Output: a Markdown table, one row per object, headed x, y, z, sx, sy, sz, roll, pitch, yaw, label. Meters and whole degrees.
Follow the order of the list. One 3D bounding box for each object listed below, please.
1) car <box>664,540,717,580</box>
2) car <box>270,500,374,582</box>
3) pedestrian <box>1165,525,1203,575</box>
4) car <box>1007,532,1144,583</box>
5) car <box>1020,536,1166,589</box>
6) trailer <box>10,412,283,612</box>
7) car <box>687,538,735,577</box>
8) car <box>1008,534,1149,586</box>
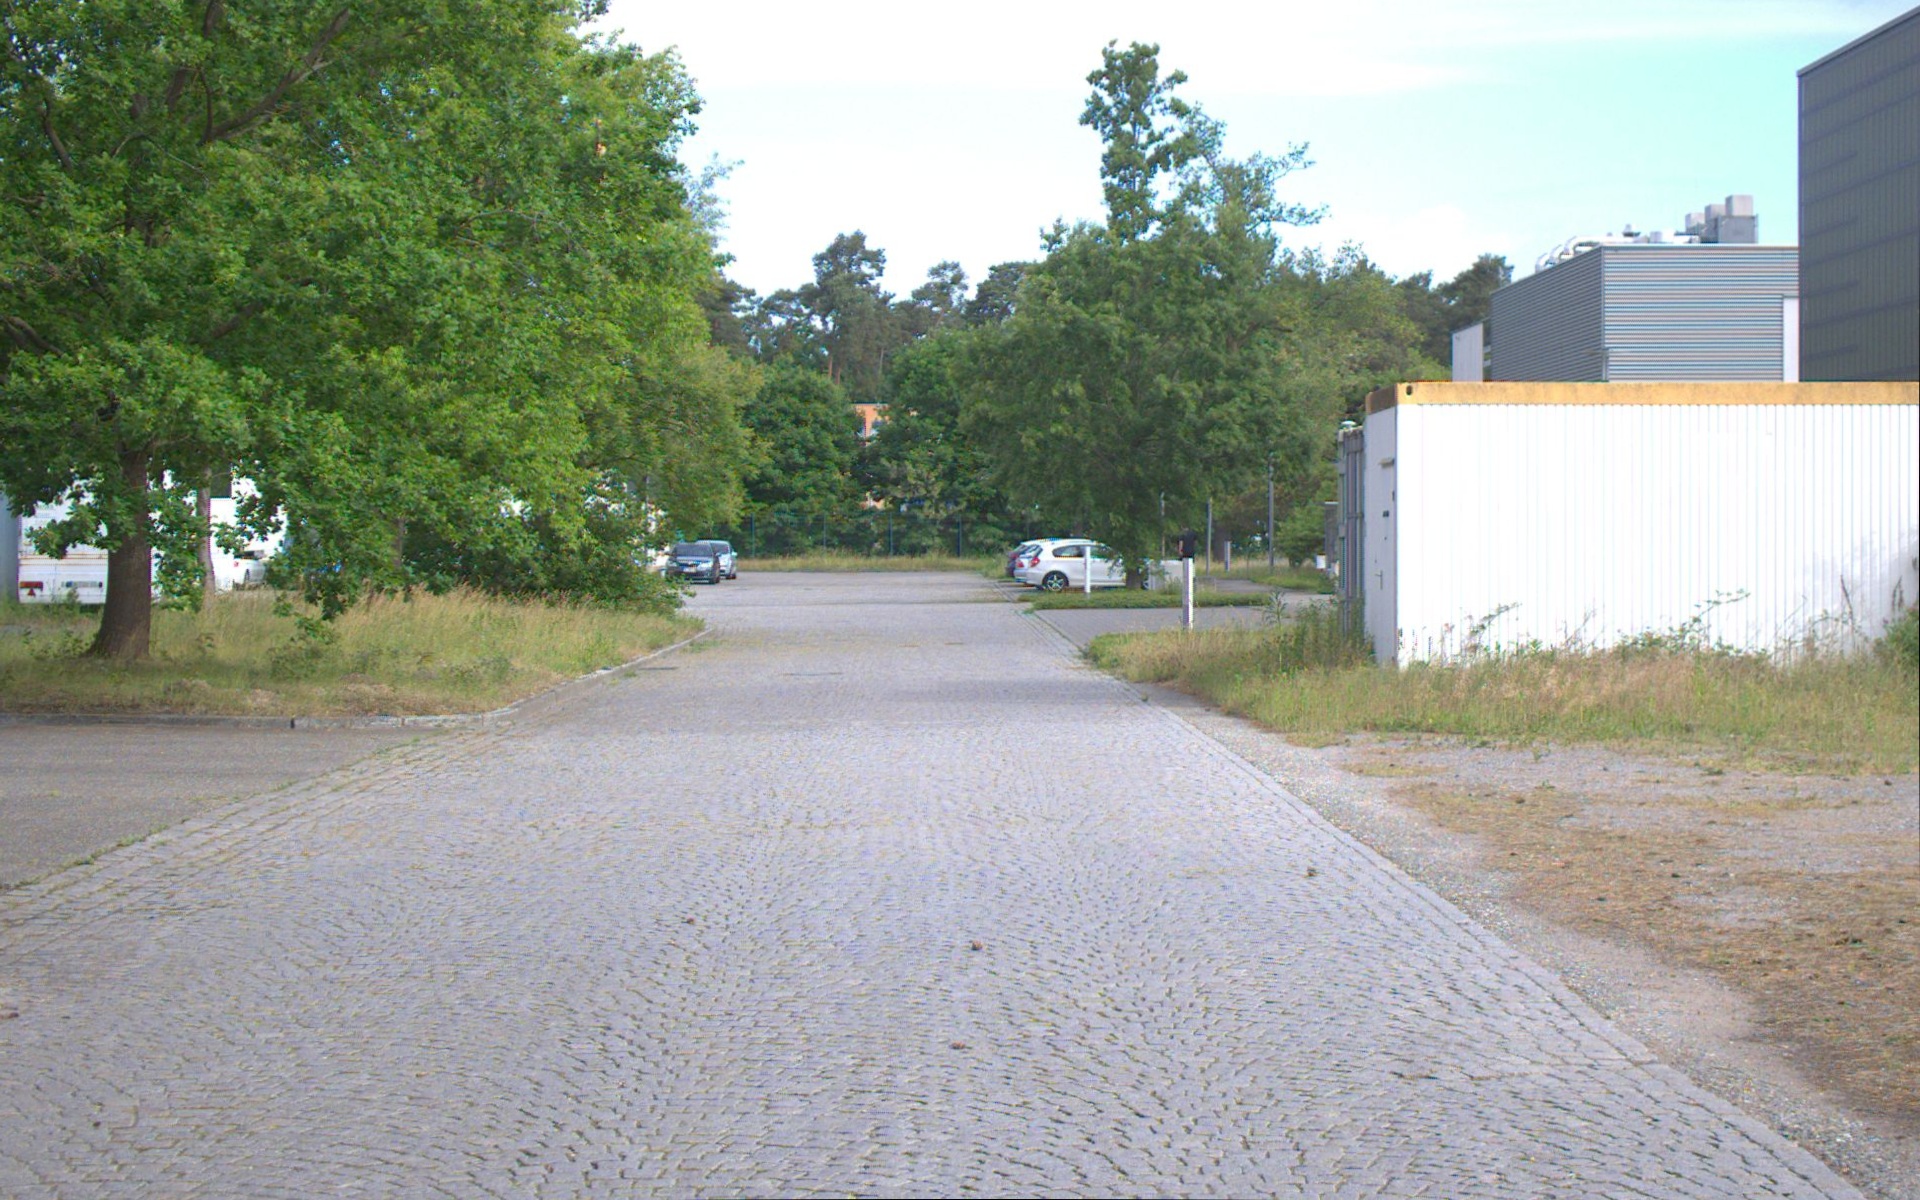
| x | y | z | sx | sy | sz | roll | pitch | yaw | label |
| --- | --- | --- | --- | --- | --- | --- | --- | --- | --- |
| -9.404 | -1.409 | 120.365 | 1.748 | 1.359 | 4.001 | 0 | 1 | -3 | car |
| -20.128 | -1.865 | 108.697 | 1.994 | 2.515 | 5.617 | 0 | 1 | 3 | car |
| 7.083 | -1.575 | 108.680 | 0.939 | 1.563 | 0.971 | -1 | 1 | -15 | pedestrian |
| 3.392 | -1.265 | 101.680 | 3.987 | 1.450 | 1.770 | 0 | 1 | 0 | car |
| 3.707 | -1.060 | 96.474 | 3.987 | 1.450 | 2.000 | 0 | 0 | 0 | car |
| -16.158 | -1.731 | 69.196 | 2.657 | 3.693 | 10.721 | 0 | 1 | 2 | trailer |
| -9.435 | -1.623 | 130.529 | 1.748 | 1.449 | 4.001 | 0 | 1 | -3 | car |
| 3.379 | -1.150 | 98.641 | 3.987 | 1.450 | 1.697 | 0 | 1 | 0 | car |
